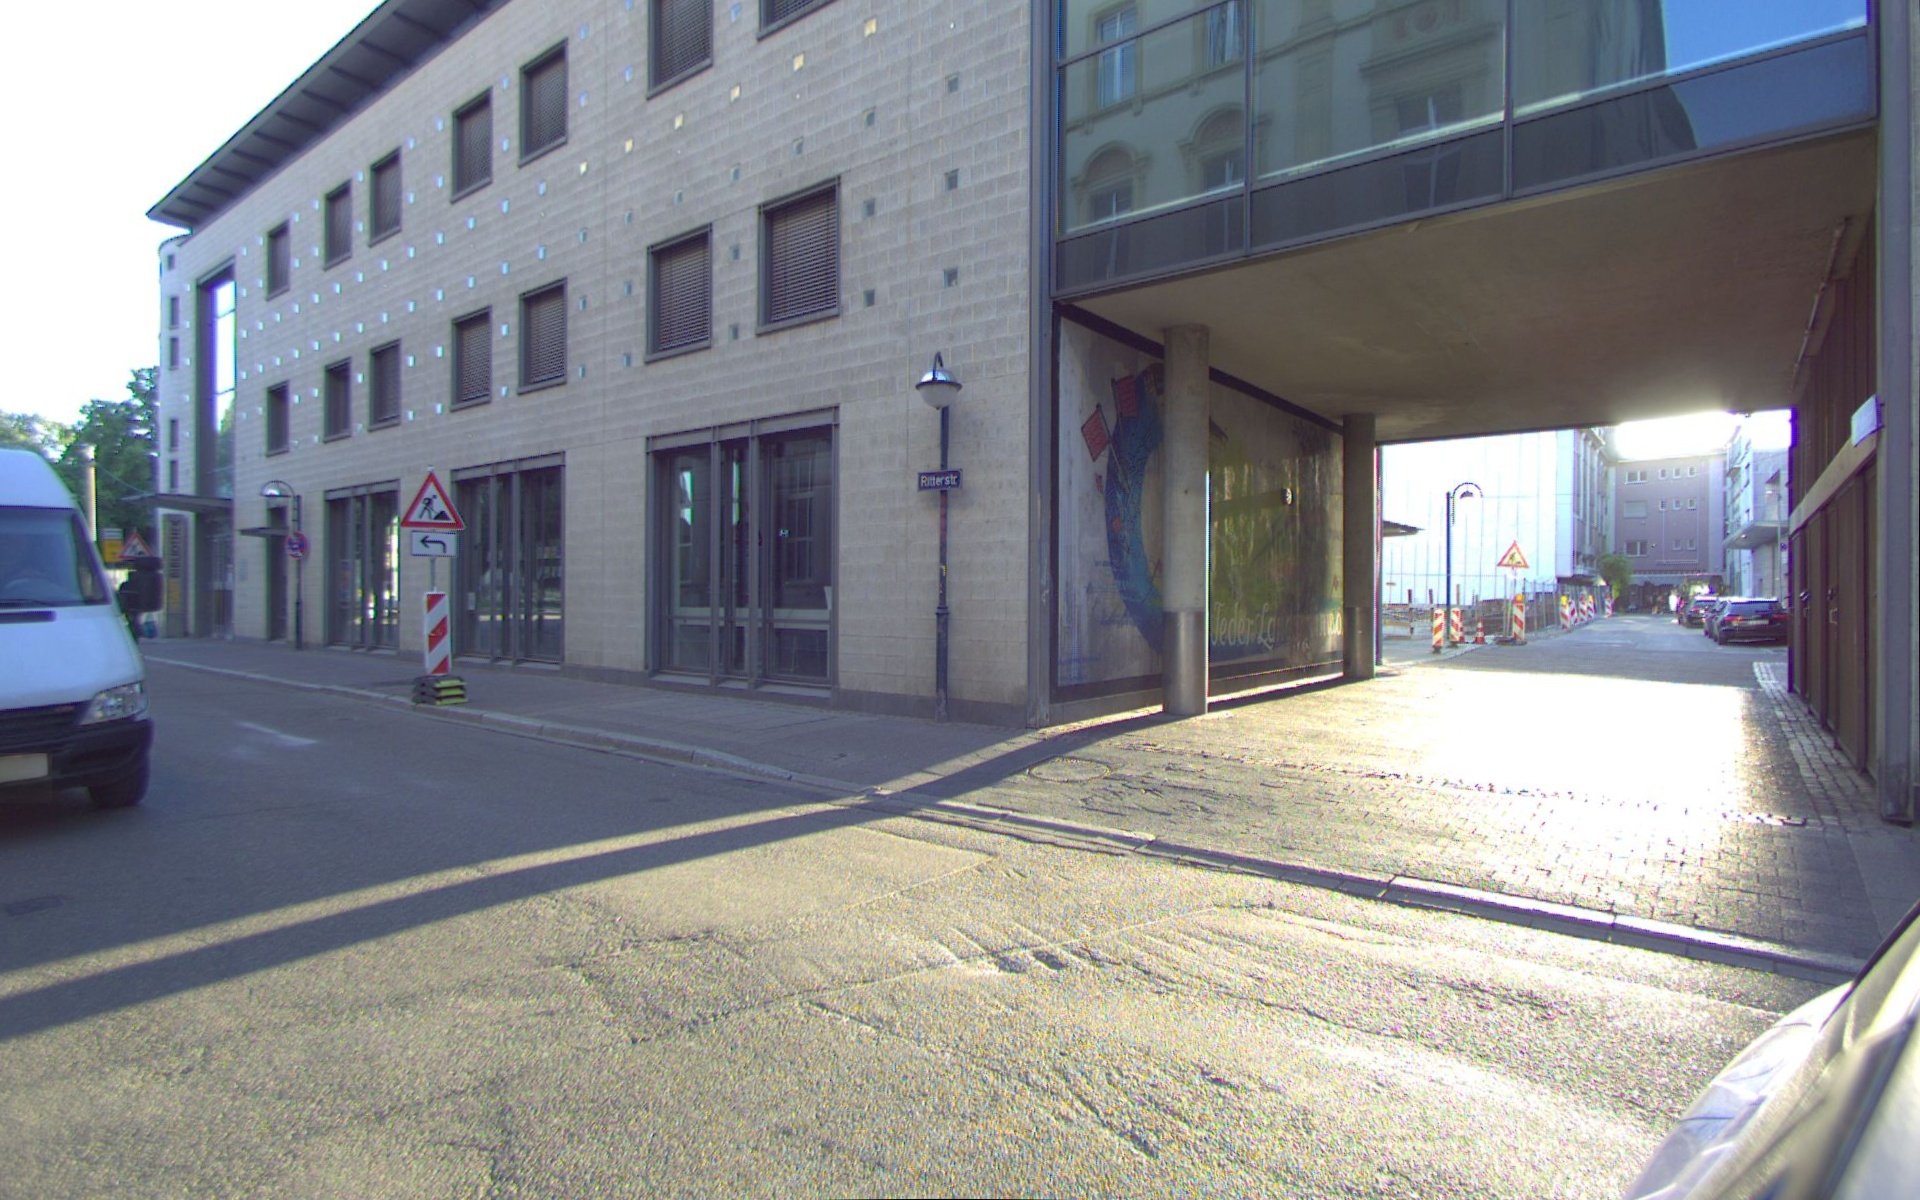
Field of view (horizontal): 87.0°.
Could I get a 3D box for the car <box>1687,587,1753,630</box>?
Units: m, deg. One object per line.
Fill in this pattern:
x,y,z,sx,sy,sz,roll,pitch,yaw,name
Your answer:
28.457,0.286,37.955,1.589,1.512,3.408,0,1,31,car

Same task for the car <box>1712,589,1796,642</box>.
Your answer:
24.483,0.423,31.295,1.589,1.512,3.408,0,1,31,car

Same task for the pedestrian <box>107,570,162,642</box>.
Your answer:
-20.366,0.132,24.962,0.865,1.723,0.912,0,1,40,pedestrian

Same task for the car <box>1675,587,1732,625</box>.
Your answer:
31.499,0.210,42.927,1.589,1.512,3.408,0,1,31,car

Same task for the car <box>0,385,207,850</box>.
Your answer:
-7.907,0.063,7.368,6.430,2.542,1.978,1,4,36,car

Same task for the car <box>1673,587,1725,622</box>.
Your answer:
34.321,0.168,47.062,1.589,1.512,3.408,0,1,31,car

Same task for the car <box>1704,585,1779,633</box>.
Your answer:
26.515,0.266,34.442,1.589,1.512,3.408,0,1,31,car
